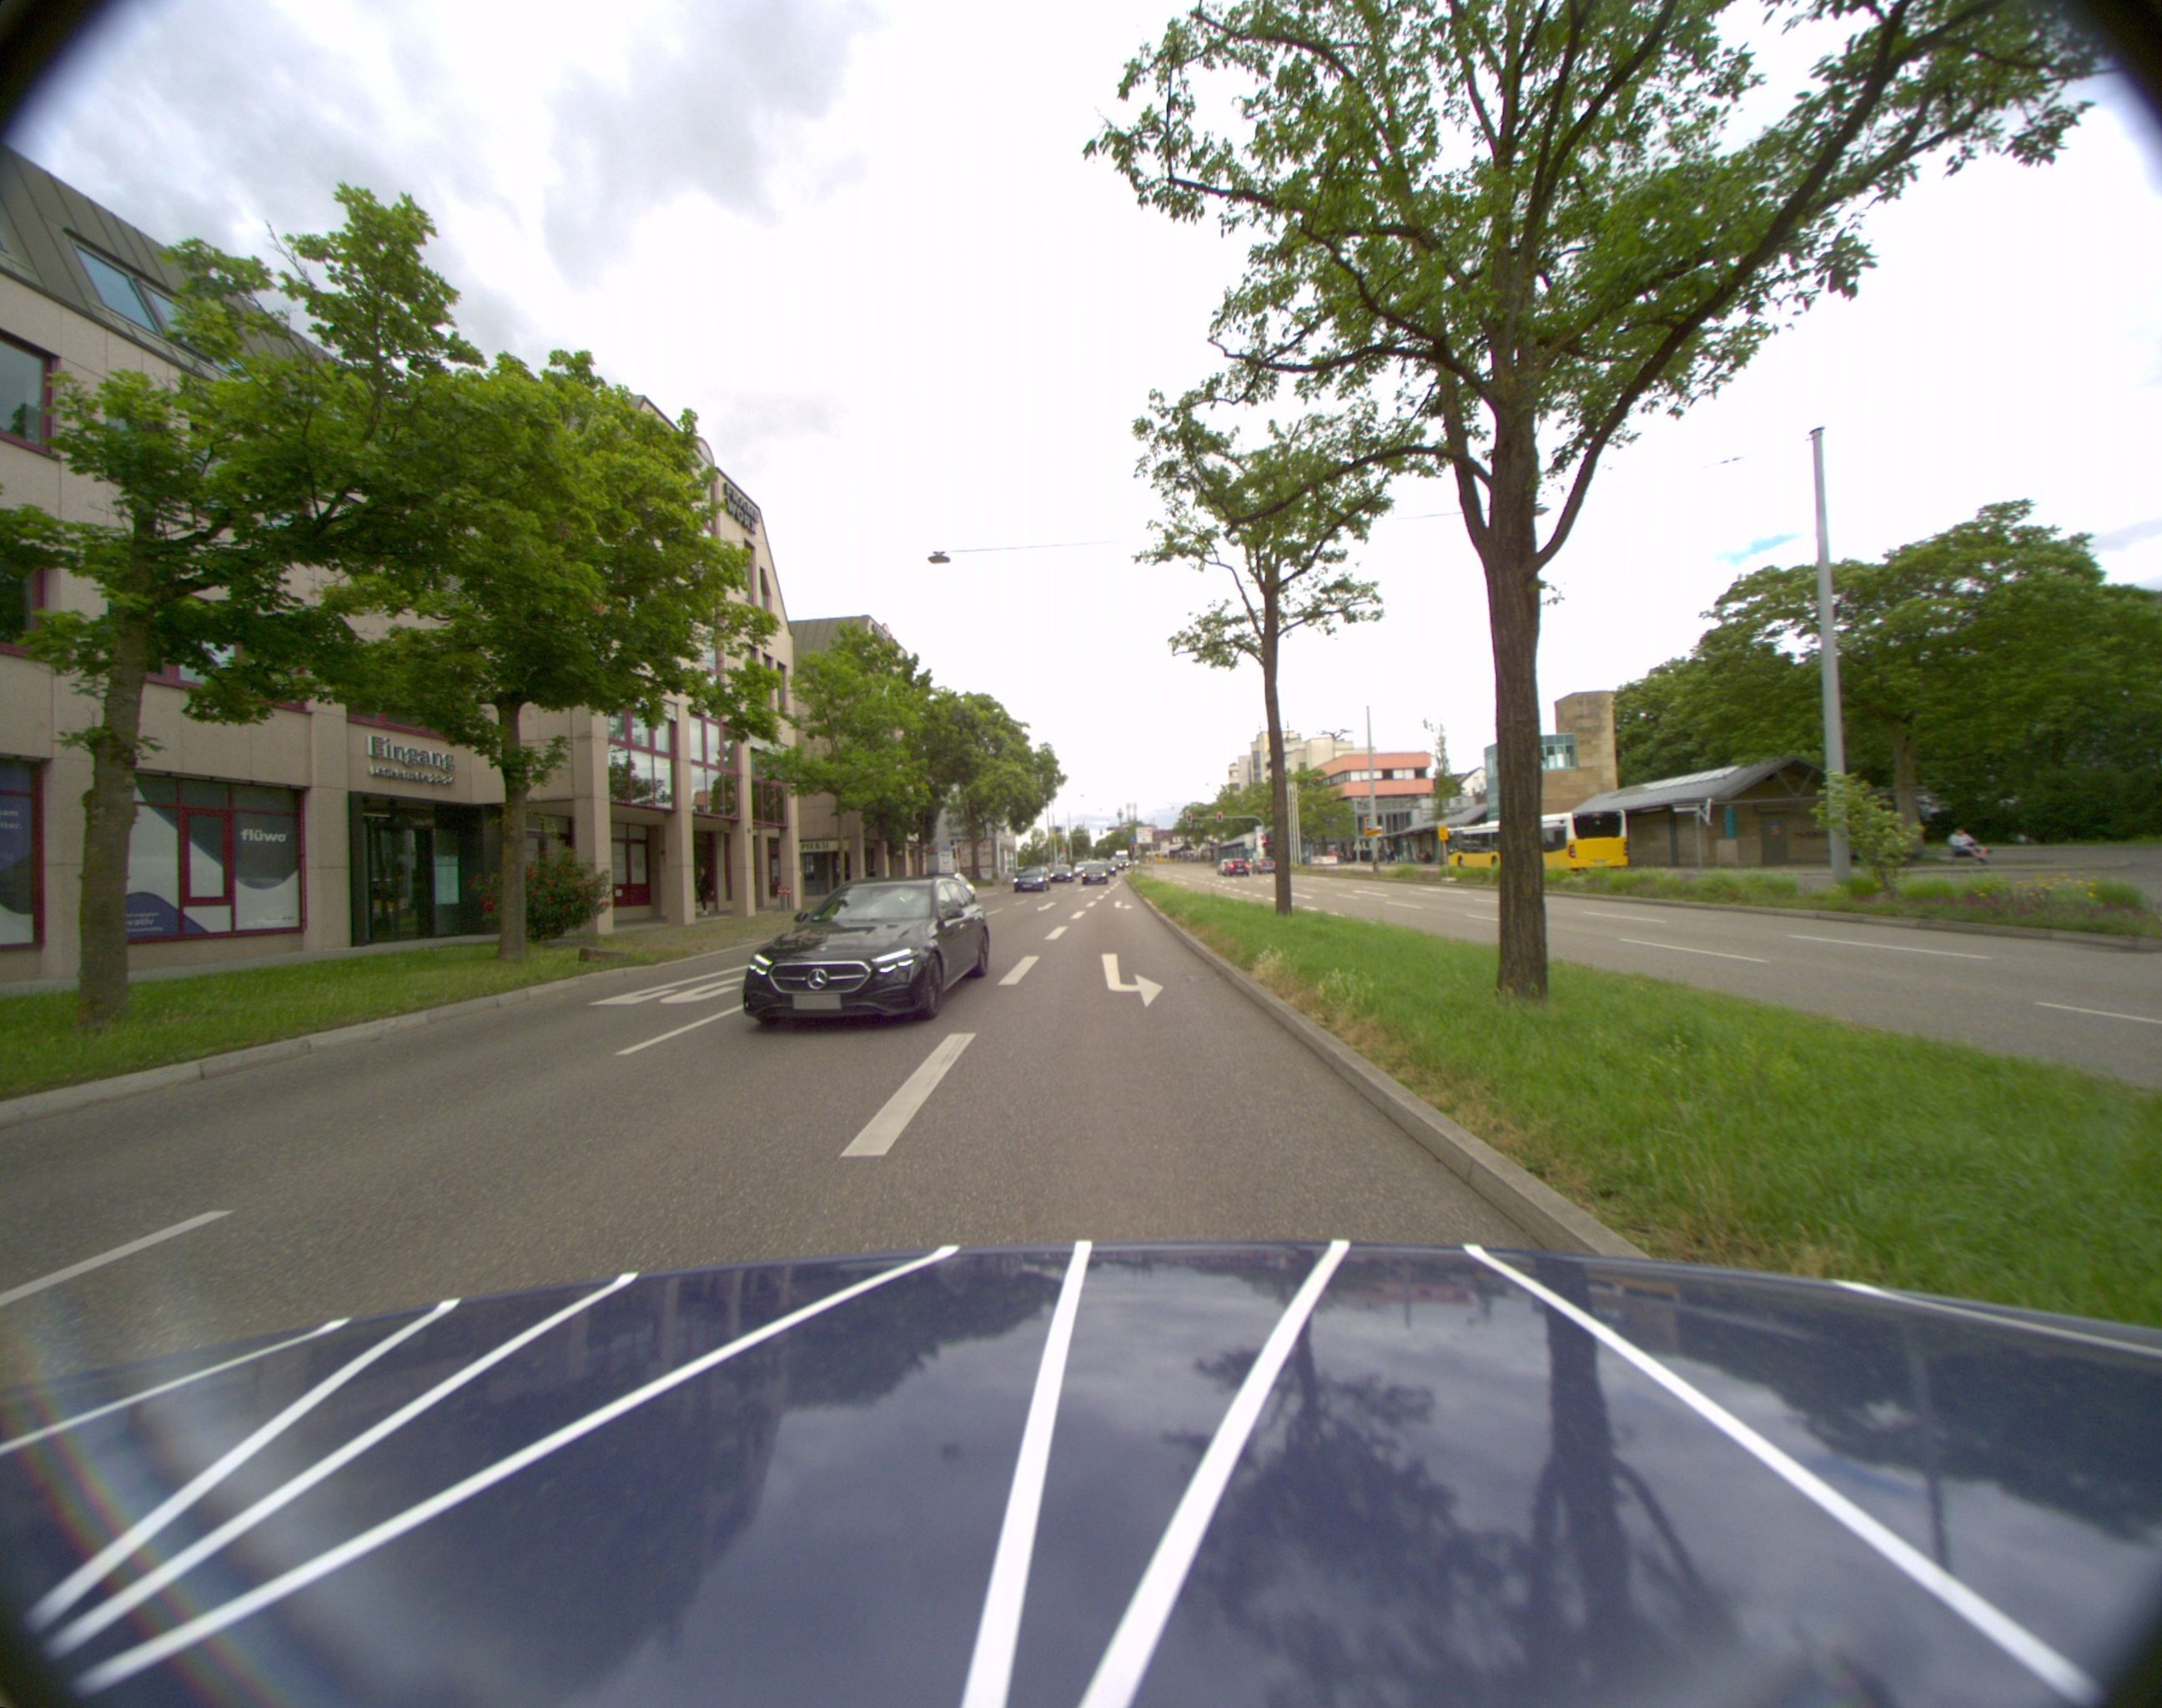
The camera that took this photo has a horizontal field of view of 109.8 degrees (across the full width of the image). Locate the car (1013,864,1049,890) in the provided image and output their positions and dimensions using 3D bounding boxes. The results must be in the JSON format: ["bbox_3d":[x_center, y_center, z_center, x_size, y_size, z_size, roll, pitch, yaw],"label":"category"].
[{"bbox_3d":[-2.961,1.345,45.682,1.972,1.430,4.312,0,-1,-1],"label":"car"}]

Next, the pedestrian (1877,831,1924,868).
[{"bbox_3d":[29.622,-0.164,27.464,0.859,1.282,0.894,-2,0,-23],"label":"pedestrian"}]

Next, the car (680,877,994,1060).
[{"bbox_3d":[-2.497,1.111,9.351,2.058,1.477,4.974,-2,0,2],"label":"car"}]

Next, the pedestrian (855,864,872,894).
[{"bbox_3d":[-12.354,1.410,43.100,0.659,1.681,0.843,-1,0,4],"label":"pedestrian"}]

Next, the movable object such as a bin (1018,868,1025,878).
[{"bbox_3d":[-6.224,1.978,79.142,0.610,1.097,0.710,-3,0,4],"label":"movable object such as a bin"}]

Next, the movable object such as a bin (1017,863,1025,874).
[{"bbox_3d":[-6.317,1.515,80.071,0.627,1.097,0.710,-3,0,4],"label":"movable object such as a bin"}]

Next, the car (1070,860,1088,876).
[{"bbox_3d":[-0.215,1.551,84.988,1.763,1.625,4.156,-2,-1,2],"label":"car"}]

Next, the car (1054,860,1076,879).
[{"bbox_3d":[-1.315,1.269,63.073,1.769,1.440,4.420,-2,0,-1],"label":"car"}]

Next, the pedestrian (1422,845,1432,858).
[{"bbox_3d":[30.795,-0.250,67.664,0.621,1.114,0.658,-2,0,5],"label":"pedestrian"}]

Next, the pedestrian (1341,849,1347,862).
[{"bbox_3d":[32.270,0.223,93.280,0.529,1.539,0.754,-3,0,16],"label":"pedestrian"}]

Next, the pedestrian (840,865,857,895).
[{"bbox_3d":[-13.184,1.466,43.110,0.659,1.681,0.843,-1,0,4],"label":"pedestrian"}]

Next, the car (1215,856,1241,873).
[{"bbox_3d":[13.723,1.015,71.191,1.749,1.456,3.791,-3,-1,2],"label":"car"}]

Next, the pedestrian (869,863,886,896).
[{"bbox_3d":[-11.539,1.442,43.005,0.659,1.815,0.843,-1,0,4],"label":"pedestrian"}]

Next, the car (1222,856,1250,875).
[{"bbox_3d":[13.174,0.959,64.847,1.662,1.499,3.769,-2,0,1],"label":"car"}]

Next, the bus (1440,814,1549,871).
[{"bbox_3d":[26.391,-0.655,49.120,2.781,3.113,9.444,-4,-1,8],"label":"bus"}]

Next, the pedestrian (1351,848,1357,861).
[{"bbox_3d":[33.639,0.094,93.706,0.485,1.539,0.383,-3,0,-14],"label":"pedestrian"}]

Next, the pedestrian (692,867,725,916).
[{"bbox_3d":[-13.394,1.329,27.342,0.596,1.695,0.970,-2,0,5],"label":"pedestrian"}]

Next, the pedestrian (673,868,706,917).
[{"bbox_3d":[-14.114,1.378,27.410,0.596,1.695,0.970,-2,0,5],"label":"pedestrian"}]

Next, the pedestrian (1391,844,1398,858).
[{"bbox_3d":[33.778,-0.285,81.801,0.590,1.452,0.994,-3,0,25],"label":"pedestrian"}]

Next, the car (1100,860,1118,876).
[{"bbox_3d":[2.851,1.451,78.299,1.763,1.531,4.048,-2,-1,2],"label":"car"}]

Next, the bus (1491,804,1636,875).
[{"bbox_3d":[25.063,-0.664,40.171,2.815,3.113,9.306,-4,-1,9],"label":"bus"}]

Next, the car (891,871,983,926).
[{"bbox_3d":[-4.575,1.374,24.883,1.798,1.464,4.700,-2,0,3],"label":"car"}]

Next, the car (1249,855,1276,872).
[{"bbox_3d":[16.888,0.849,70.752,1.819,1.499,4.001,-2,0,5],"label":"car"}]

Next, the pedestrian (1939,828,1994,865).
[{"bbox_3d":[31.240,-0.244,26.812,0.895,1.247,0.858,-2,0,1],"label":"pedestrian"}]

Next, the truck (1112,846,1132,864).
[{"bbox_3d":[7.614,0.202,141.601,3.119,3.208,6.524,-3,0,0],"label":"truck"}]

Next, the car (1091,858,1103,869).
[{"bbox_3d":[2.854,1.651,132.412,2.020,1.759,4.001,-2,0,2],"label":"car"}]

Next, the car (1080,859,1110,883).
[{"bbox_3d":[1.001,1.211,55.499,1.972,1.630,4.312,-1,-1,-1],"label":"car"}]

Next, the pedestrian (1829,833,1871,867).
[{"bbox_3d":[29.795,-0.144,29.442,0.859,1.247,0.894,-2,0,-28],"label":"pedestrian"}]

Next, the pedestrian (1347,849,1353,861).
[{"bbox_3d":[32.902,0.117,93.067,0.485,1.539,0.383,-3,0,-7],"label":"pedestrian"}]
